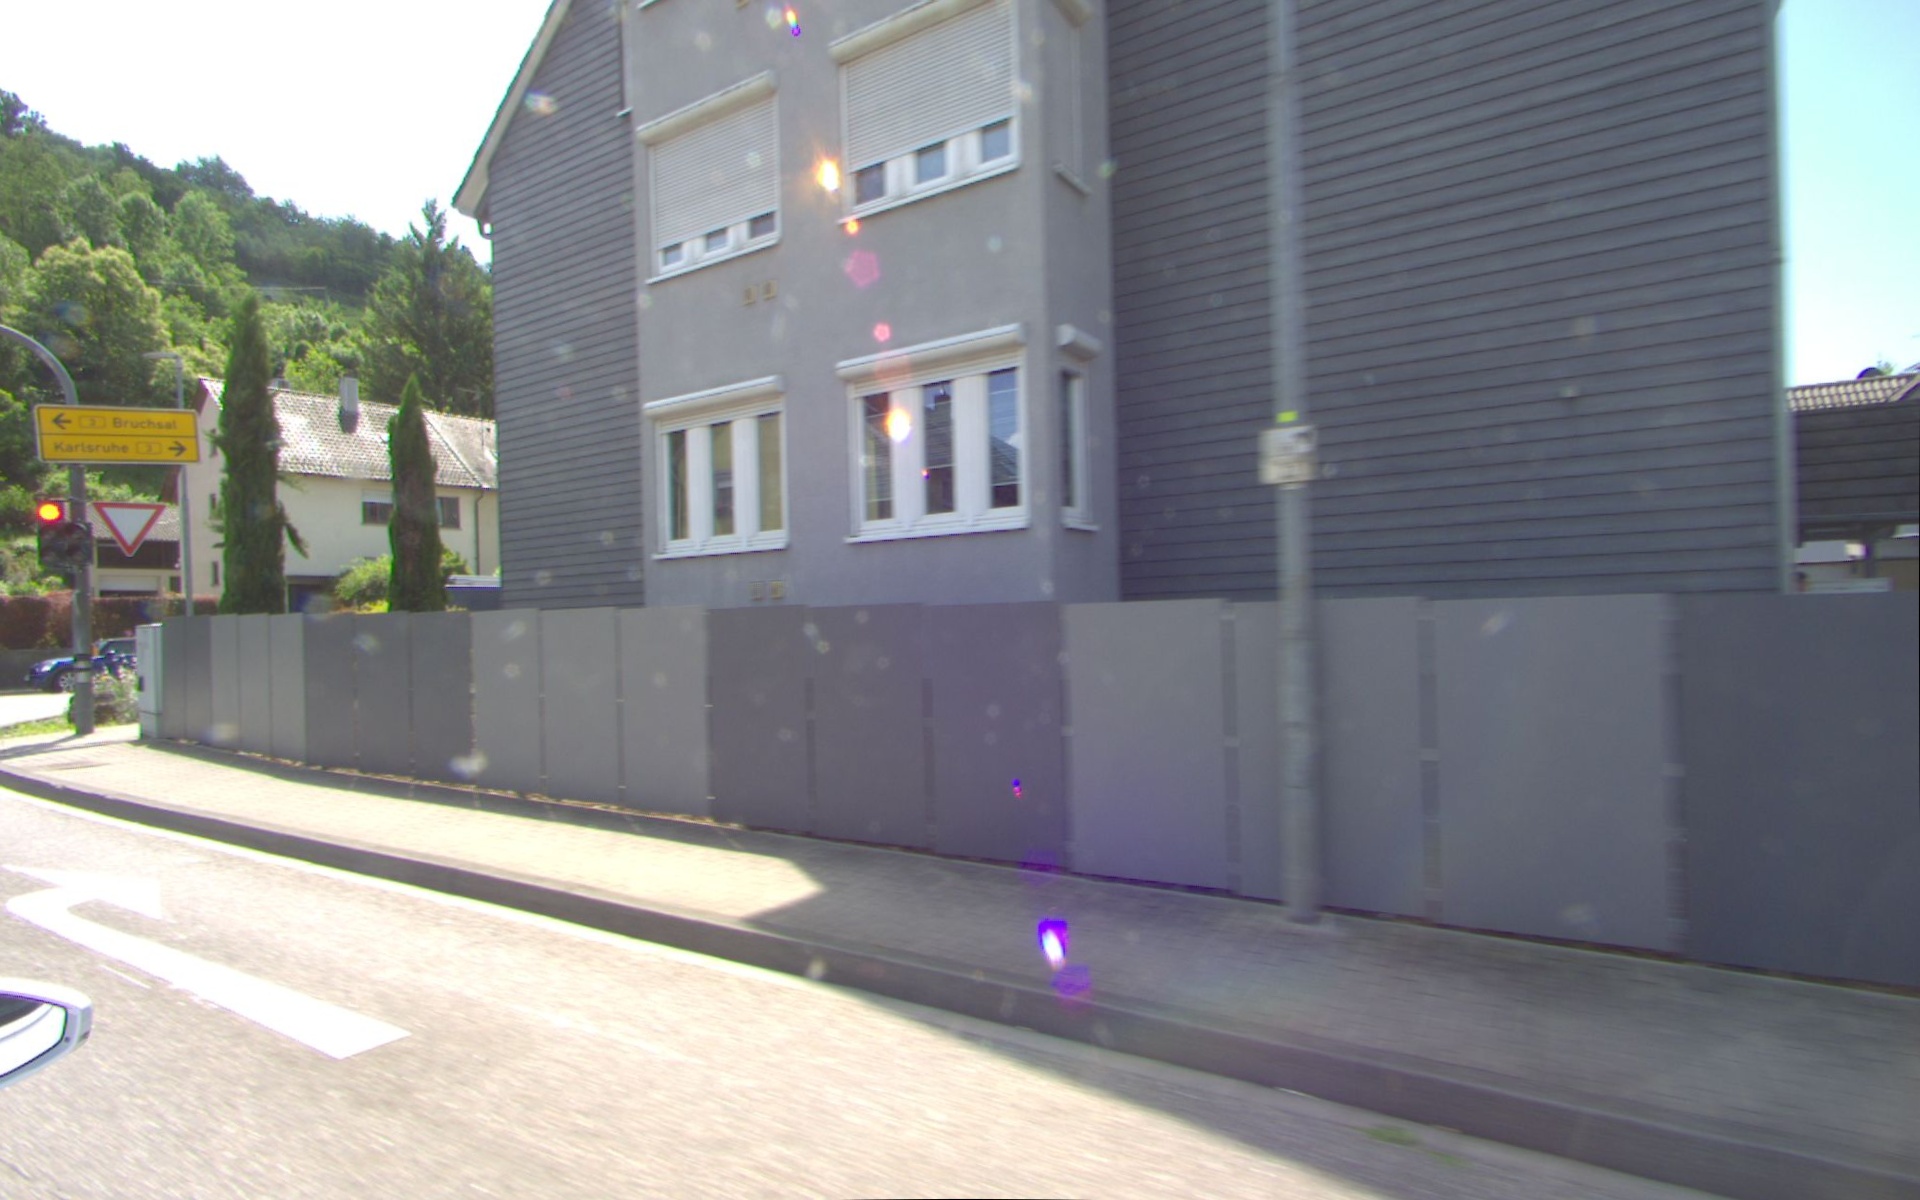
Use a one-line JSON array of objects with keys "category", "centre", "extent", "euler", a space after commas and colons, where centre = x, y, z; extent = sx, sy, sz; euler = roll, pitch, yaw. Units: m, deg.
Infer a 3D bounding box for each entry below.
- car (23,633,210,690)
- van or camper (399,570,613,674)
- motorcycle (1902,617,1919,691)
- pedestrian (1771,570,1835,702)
[{"category": "car", "centre": [-22.667, 1.628, 27.021], "extent": [1.624, 1.379, 3.598], "euler": [-5, -4, 35]}, {"category": "van or camper", "centre": [-14.453, 0.697, 32.265], "extent": [2.192, 3.043, 5.968], "euler": [-1, -1, 39]}, {"category": "motorcycle", "centre": [16.290, 0.874, 15.829], "extent": [1.925, 1.179, 0.646], "euler": [1, 0, 34]}, {"category": "pedestrian", "centre": [10.185, 0.428, 12.111], "extent": [0.528, 1.549, 0.480], "euler": [-1, 0, 34]}]
